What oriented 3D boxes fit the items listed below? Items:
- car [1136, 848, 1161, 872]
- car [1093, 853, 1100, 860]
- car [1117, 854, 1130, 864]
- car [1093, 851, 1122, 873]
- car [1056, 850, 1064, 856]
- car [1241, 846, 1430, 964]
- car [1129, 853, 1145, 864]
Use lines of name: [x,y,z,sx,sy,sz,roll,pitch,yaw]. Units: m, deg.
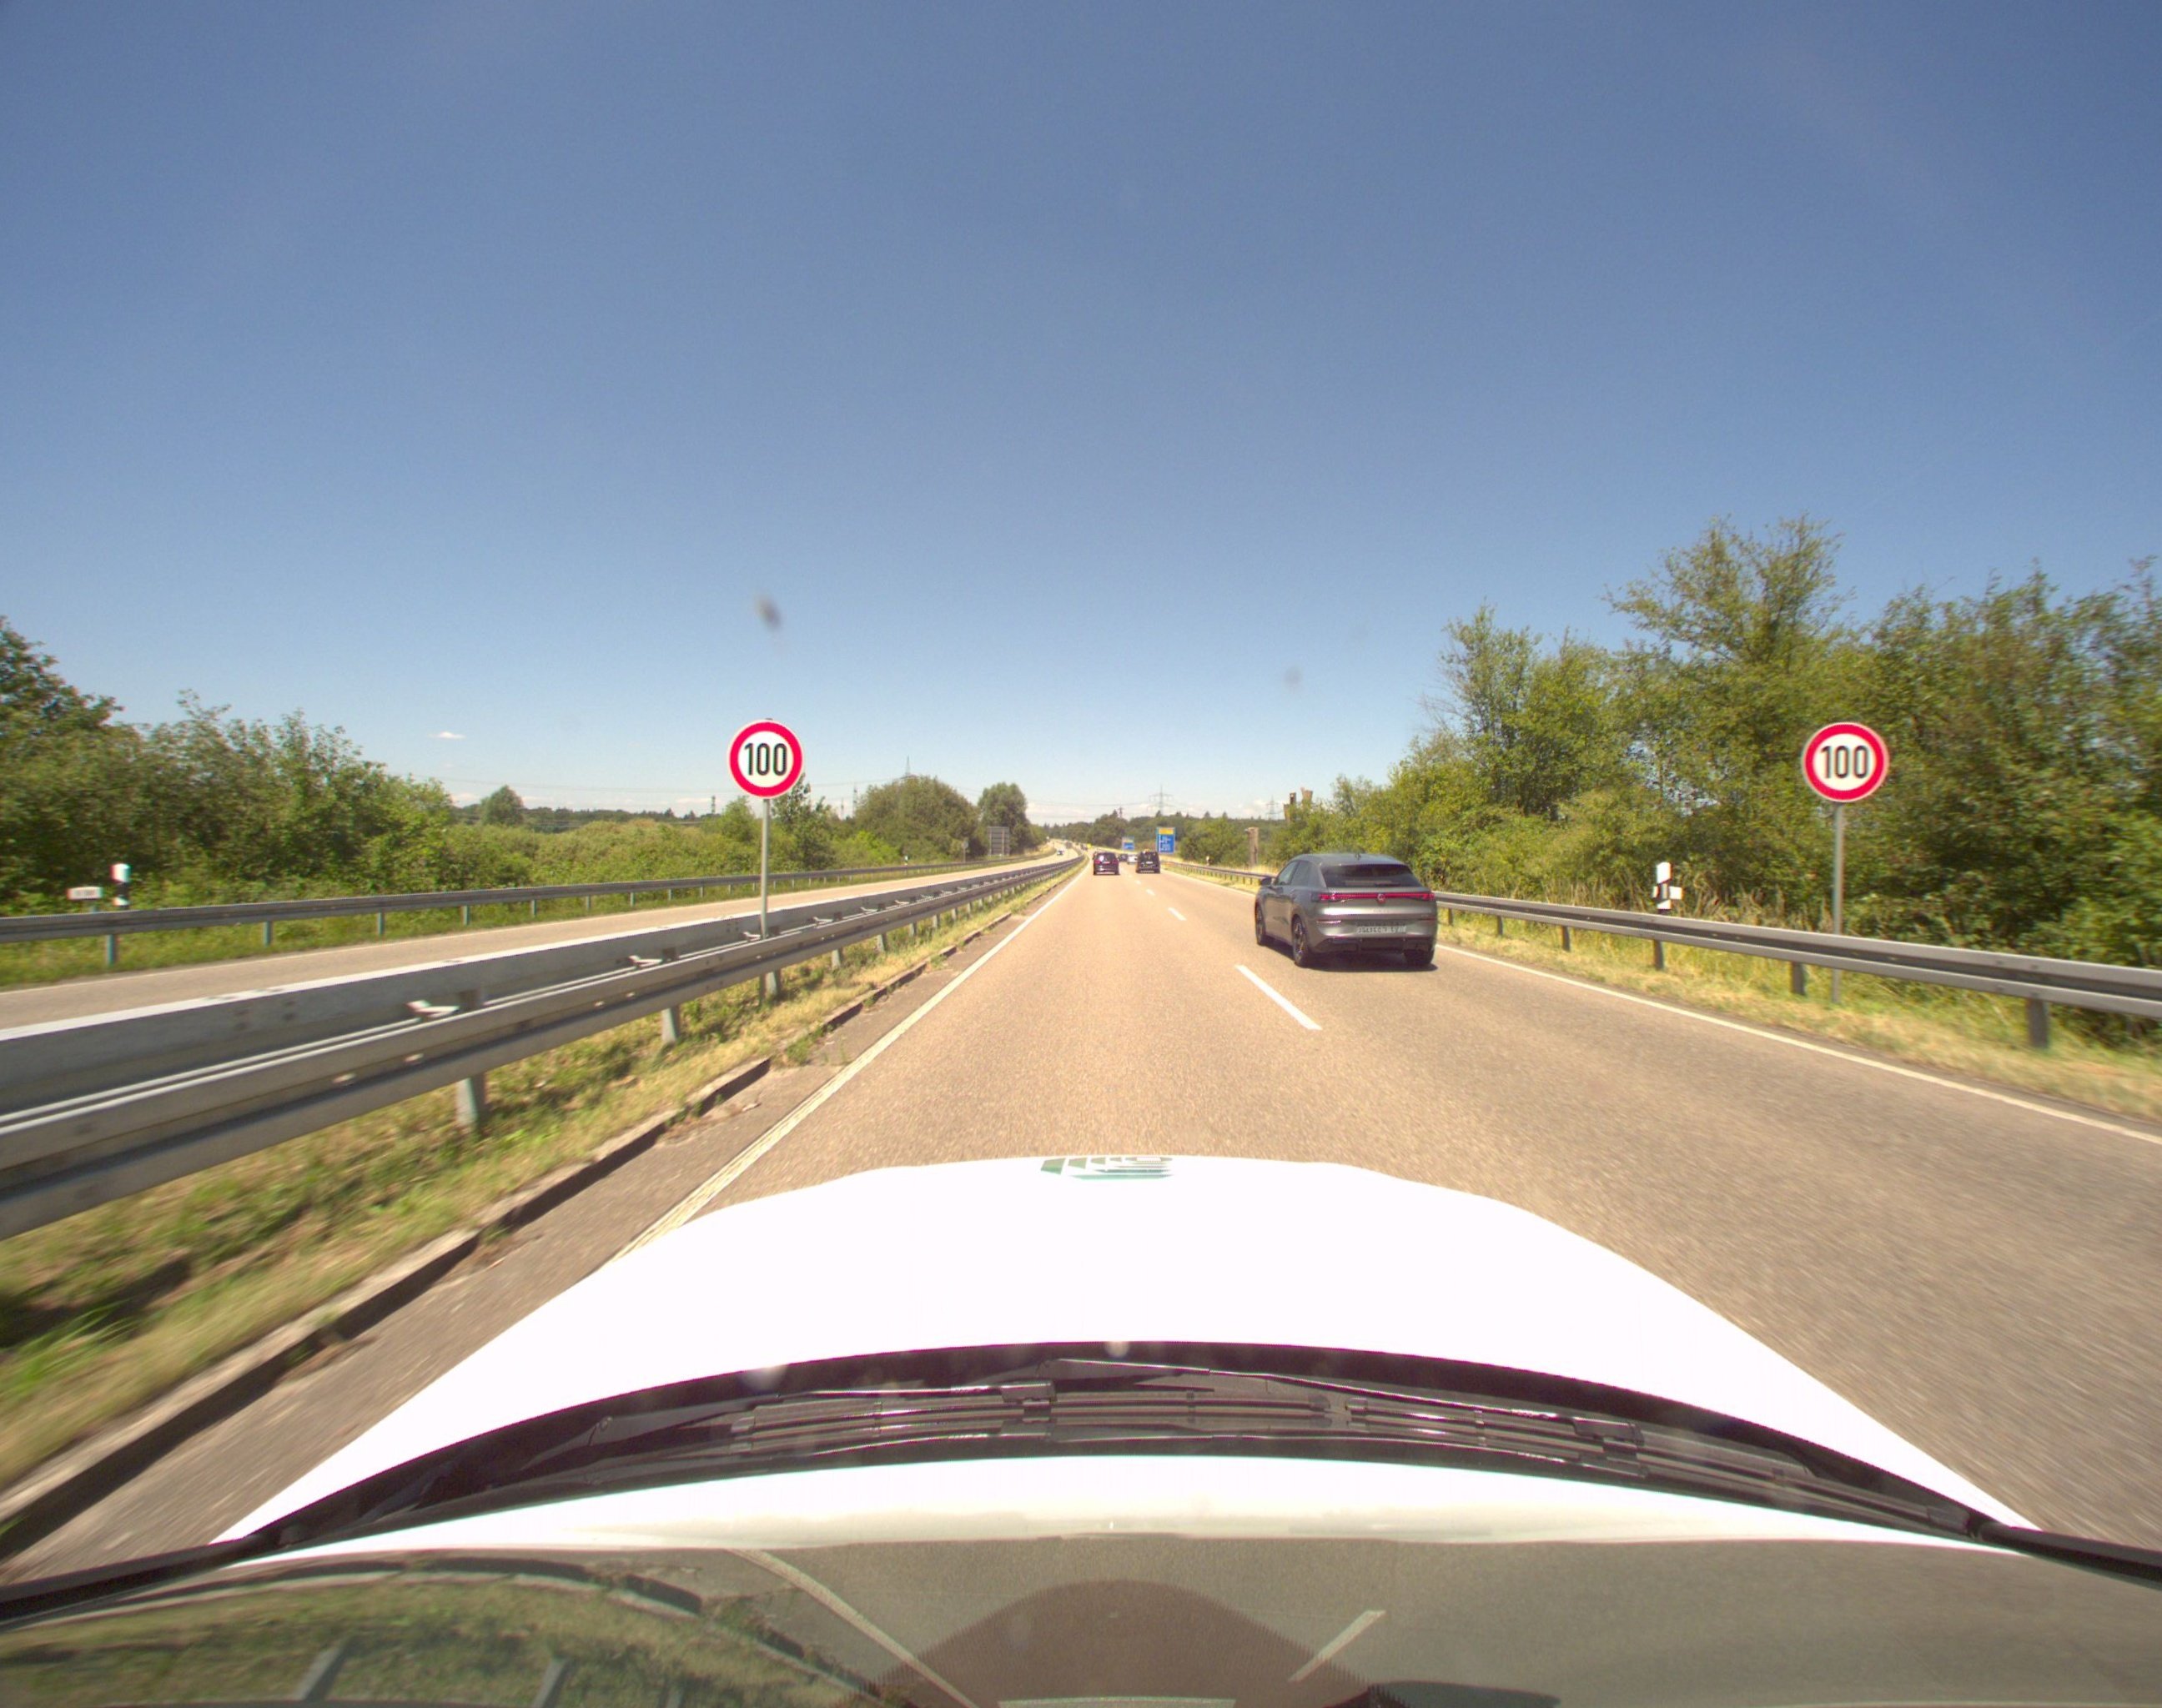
car: [5.464,0.469,65.996,1.773,1.817,4.214,0,0,2]
car: [3.393,0.504,178.281,1.510,1.475,3.066,3,1,0]
car: [6.631,0.734,126.982,1.813,1.414,4.001,0,1,1]
car: [1.955,0.583,61.162,1.987,1.654,3.999,0,0,0]
car: [-6.255,-0.238,244.013,1.986,1.637,4.875,3,1,1]
car: [3.807,0.657,12.901,1.779,1.553,4.019,-1,1,1]
car: [7.539,0.632,109.849,1.773,1.479,4.315,0,0,0]
